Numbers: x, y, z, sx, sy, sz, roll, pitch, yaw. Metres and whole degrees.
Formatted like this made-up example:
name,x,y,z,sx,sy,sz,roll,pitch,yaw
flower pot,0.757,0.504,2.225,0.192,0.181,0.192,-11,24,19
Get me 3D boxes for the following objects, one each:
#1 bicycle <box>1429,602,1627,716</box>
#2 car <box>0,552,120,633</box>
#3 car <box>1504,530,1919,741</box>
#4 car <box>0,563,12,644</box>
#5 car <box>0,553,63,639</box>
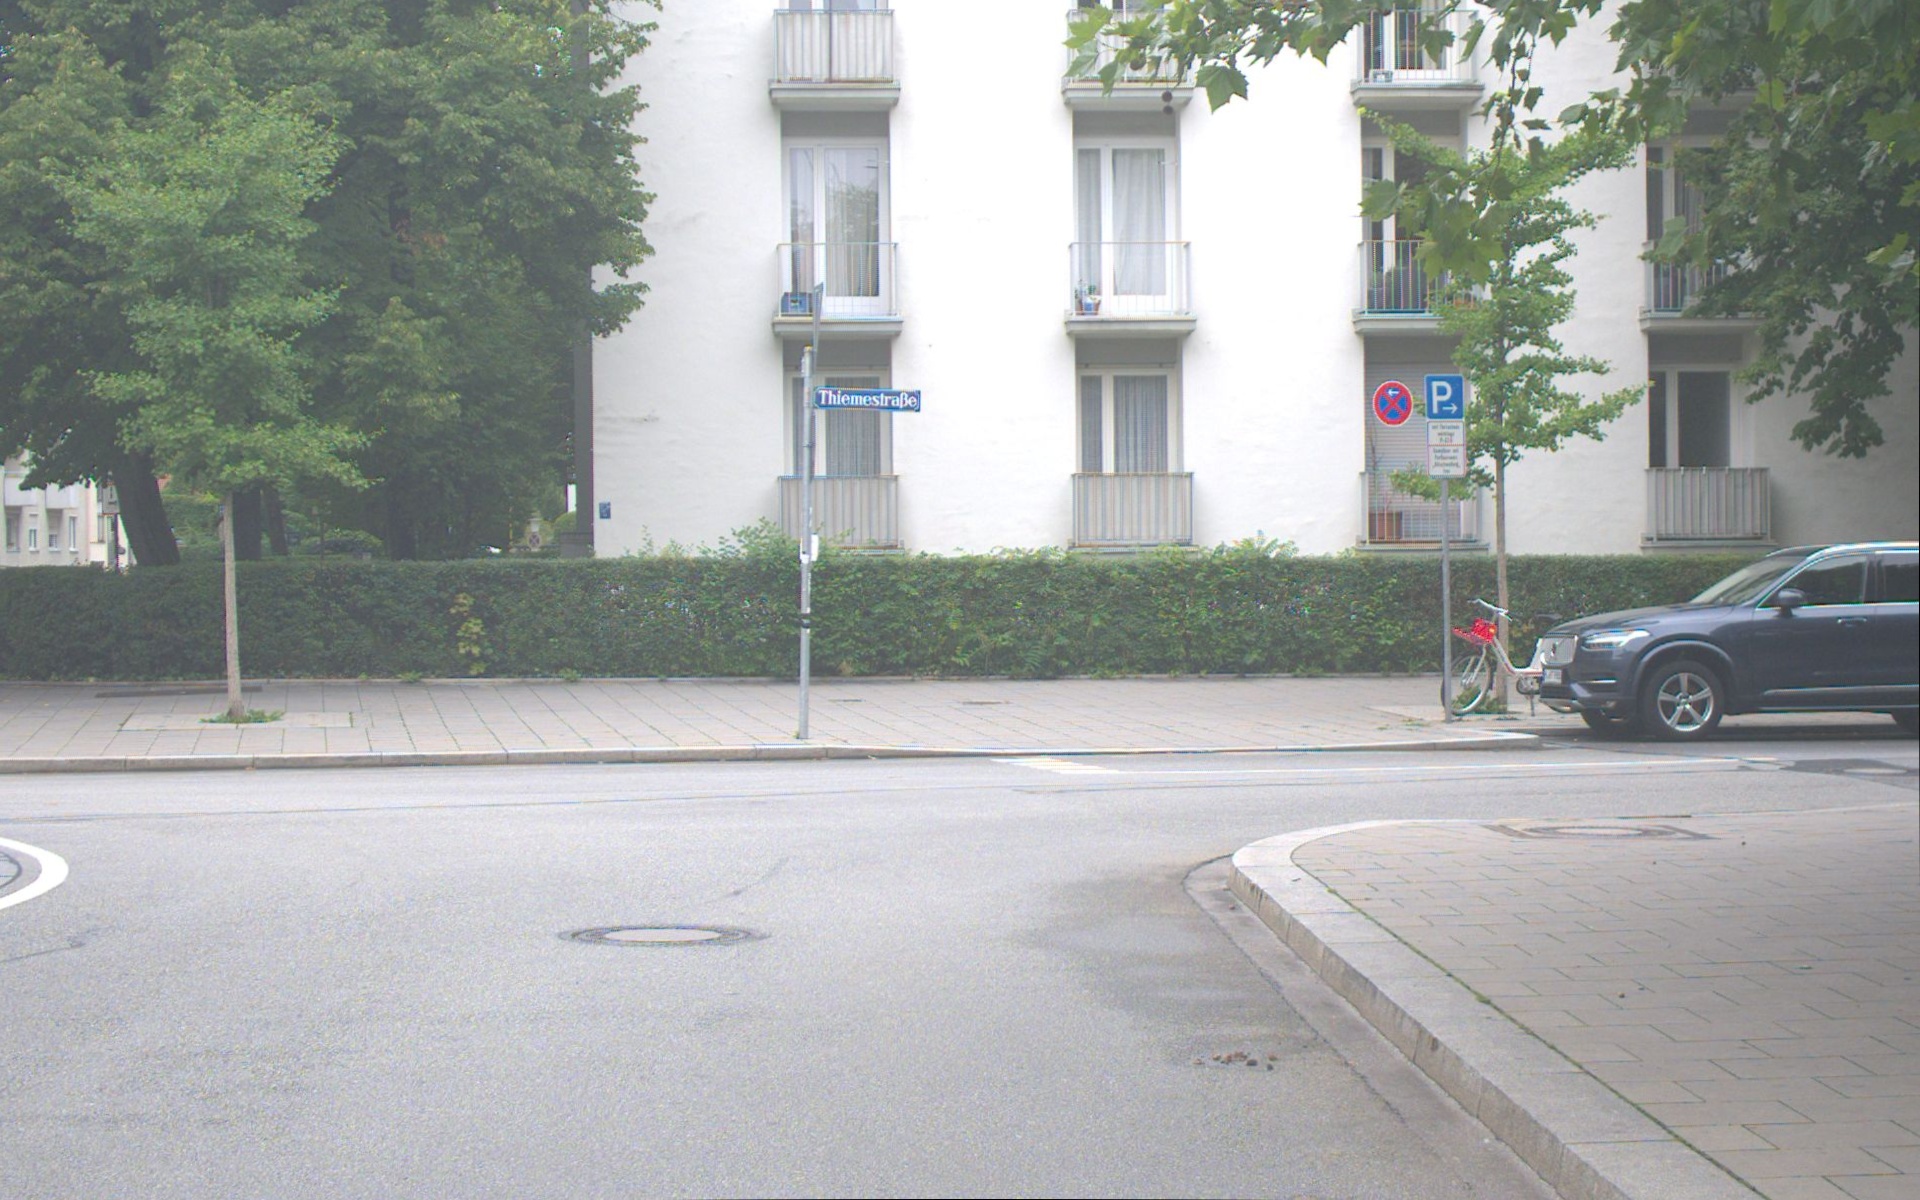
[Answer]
name,x,y,z,sx,sy,sz,roll,pitch,yaw
bicycle,5.439,0.556,32.914,1.824,1.045,0.492,-1,1,-15
car,-19.408,-0.180,73.876,1.835,1.629,3.820,-2,1,-2
car,7.522,0.296,30.624,4.896,1.786,2.000,0,0,-9
car,-18.800,0.104,63.614,1.835,1.500,4.116,-2,1,-7
car,-19.160,-0.088,68.212,1.835,1.629,4.116,-2,1,-3
